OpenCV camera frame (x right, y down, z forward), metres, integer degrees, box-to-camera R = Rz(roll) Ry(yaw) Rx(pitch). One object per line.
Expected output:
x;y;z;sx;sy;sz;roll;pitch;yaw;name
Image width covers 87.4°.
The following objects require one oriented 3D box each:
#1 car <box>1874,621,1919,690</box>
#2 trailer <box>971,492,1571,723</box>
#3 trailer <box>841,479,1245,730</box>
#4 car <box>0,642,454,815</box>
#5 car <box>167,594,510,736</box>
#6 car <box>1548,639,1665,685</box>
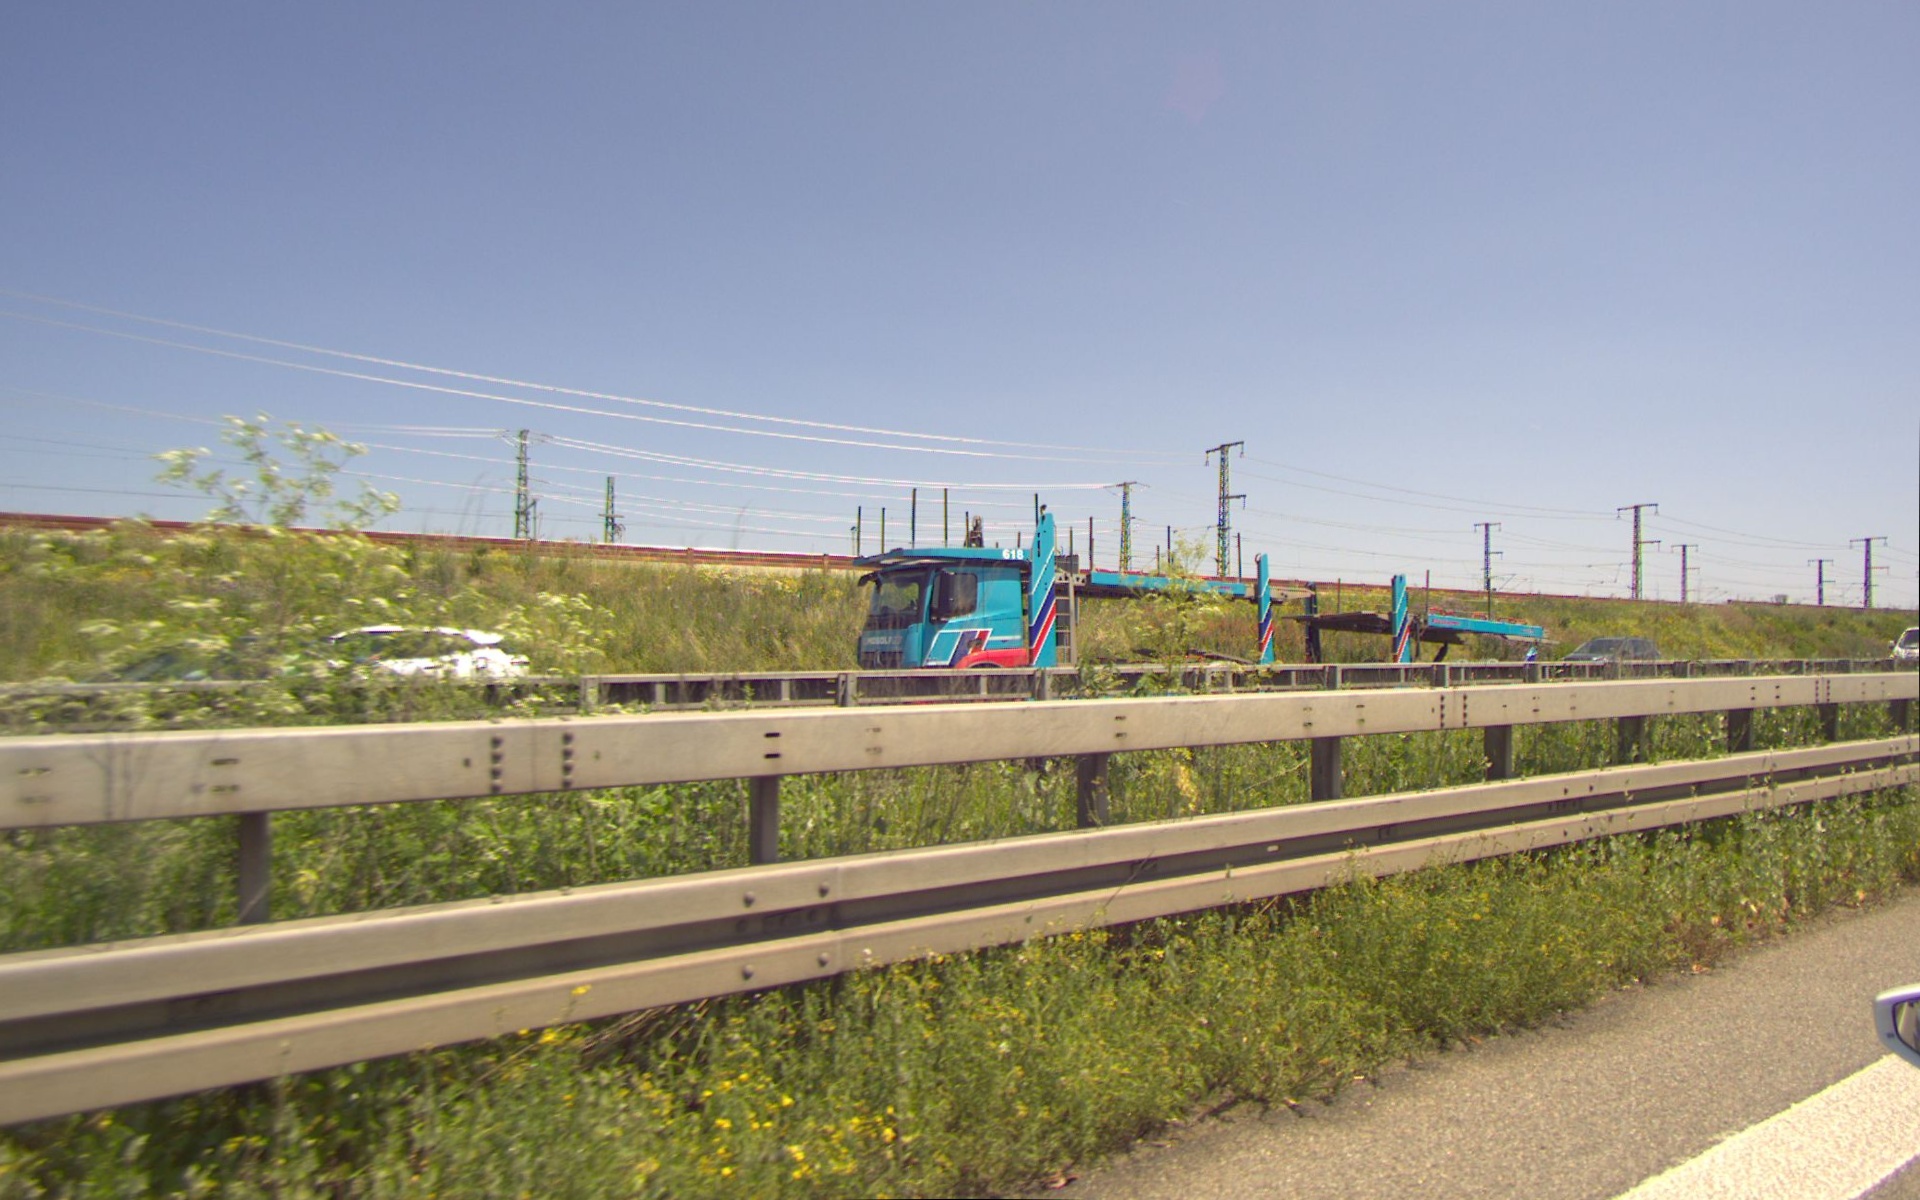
30.973;1.730;31.493;5.369;2.040;1.984;1;-1;-31;car
7.766;0.317;22.418;15.791;3.919;3.036;1;-1;-31;trailer
1.661;0.161;18.799;7.119;3.919;3.036;1;-1;-31;trailer
-7.071;1.113;9.373;4.084;1.361;1.878;3;-3;-30;car
-9.903;1.075;16.421;4.442;2.040;1.985;3;-3;-30;car
23.252;2.183;36.100;4.190;1.535;1.907;2;-2;-31;car
